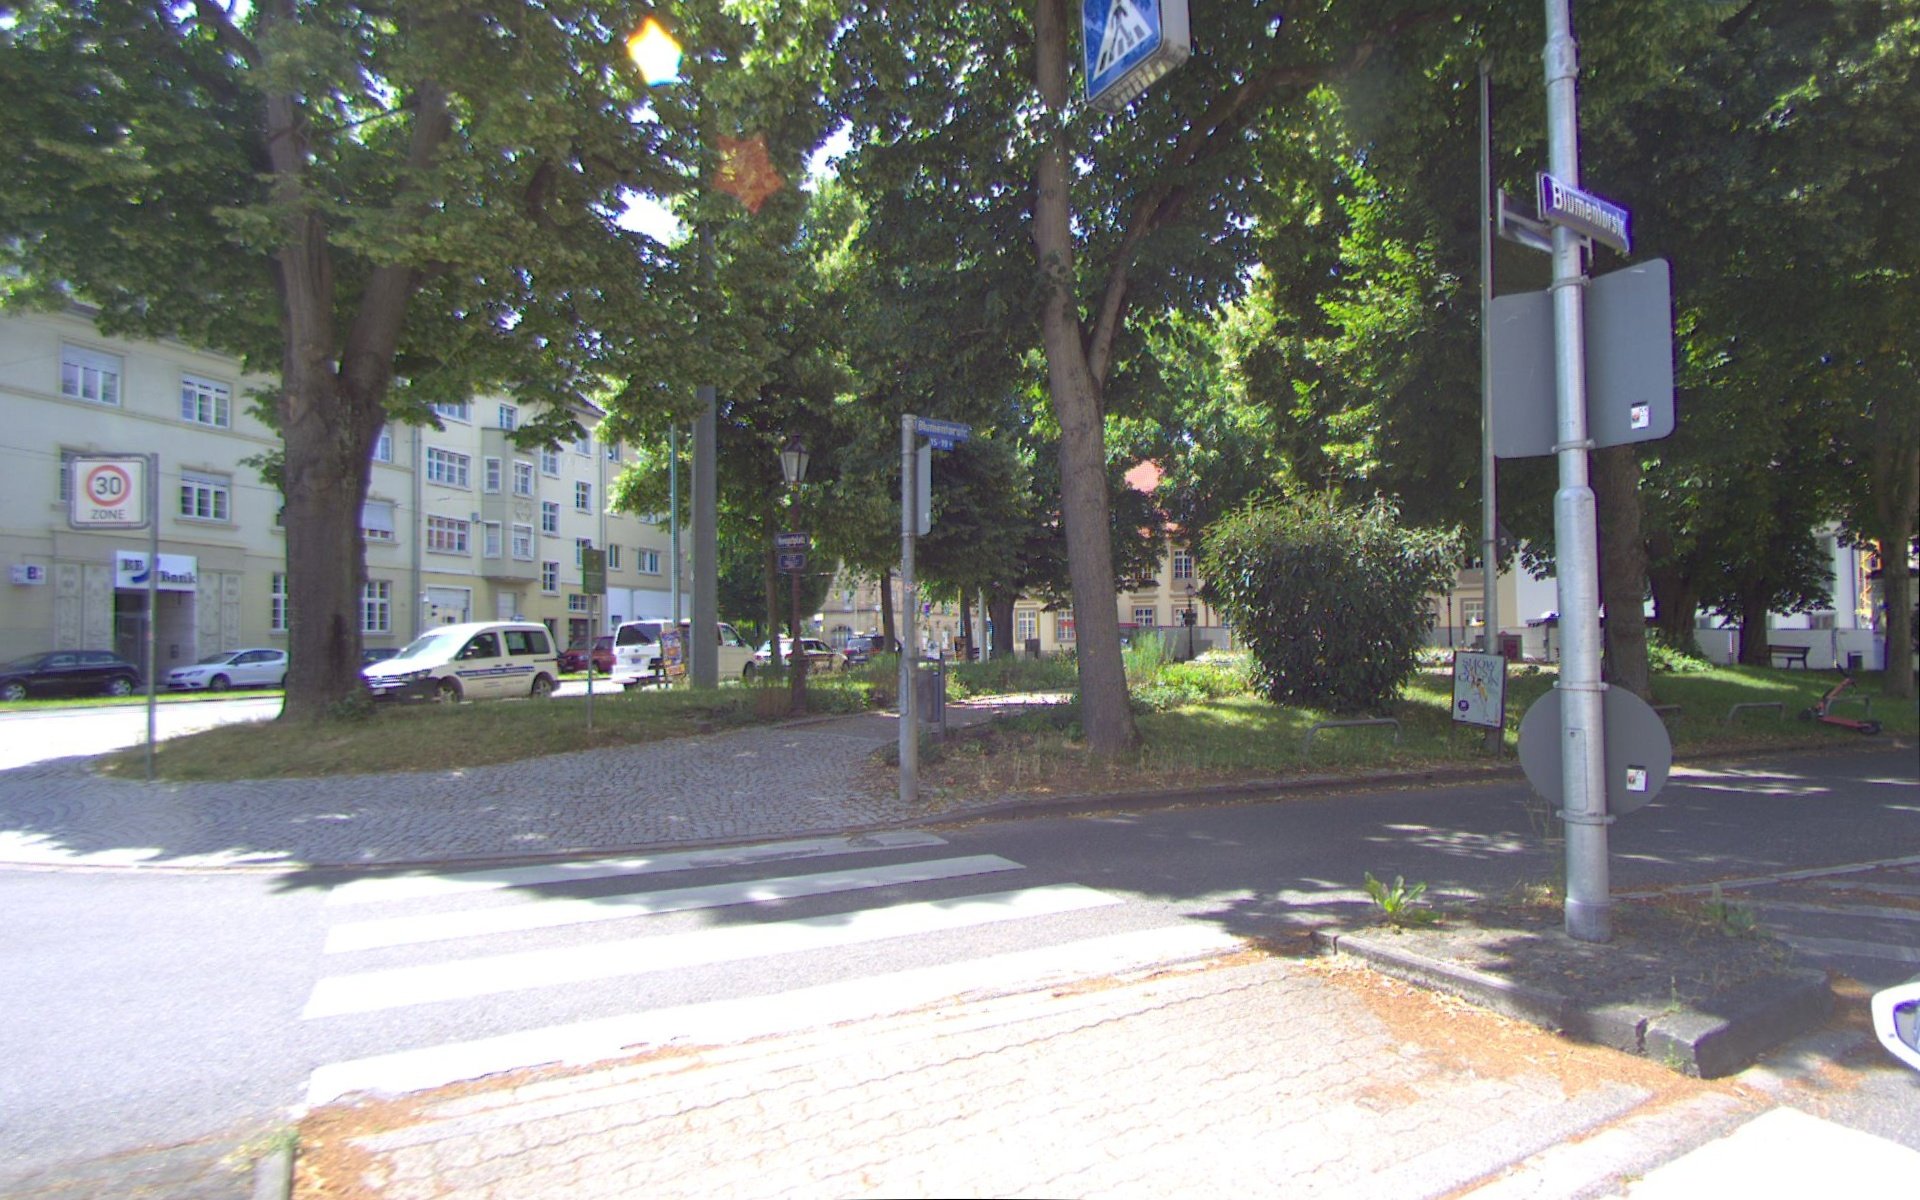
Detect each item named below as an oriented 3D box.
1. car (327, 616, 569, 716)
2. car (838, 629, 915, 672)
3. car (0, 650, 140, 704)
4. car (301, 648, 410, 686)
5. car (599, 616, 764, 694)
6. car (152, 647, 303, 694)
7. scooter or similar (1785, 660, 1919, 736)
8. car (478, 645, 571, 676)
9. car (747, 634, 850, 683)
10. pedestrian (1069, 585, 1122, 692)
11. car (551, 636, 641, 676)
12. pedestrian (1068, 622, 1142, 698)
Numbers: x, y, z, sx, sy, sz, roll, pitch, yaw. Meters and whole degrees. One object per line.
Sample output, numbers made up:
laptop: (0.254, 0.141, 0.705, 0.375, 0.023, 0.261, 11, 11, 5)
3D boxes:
car: (-10.418, 1.308, 20.892, 1.960, 1.850, 4.424, -1, -2, 17)
car: (-3.494, 2.125, 42.679, 1.753, 1.715, 4.201, -1, -2, 18)
car: (-25.887, 2.175, 28.447, 1.658, 1.378, 3.859, -3, -3, 17)
car: (-23.001, 2.534, 38.351, 1.658, 1.294, 3.290, -4, -3, 17)
car: (-7.860, 1.543, 28.985, 2.015, 2.029, 5.250, -1, -2, 18)
car: (-24.333, 2.315, 33.538, 1.658, 1.408, 3.859, -3, -3, 17)
scooter or similar: (14.870, 1.602, 16.748, 1.436, 1.005, 1.264, 2, 6, -33)
car: (-20.317, 2.824, 47.033, 1.614, 1.294, 4.266, -3, -3, 17)
car: (-5.686, 2.037, 35.906, 1.753, 1.645, 4.487, -1, -2, 18)
pedestrian: (2.512, 0.702, 18.610, 0.737, 1.936, 0.682, -1, -1, 33)
car: (-18.753, 2.849, 51.967, 1.822, 1.936, 4.773, -3, -3, 17)
pedestrian: (2.586, 1.037, 17.811, 0.893, 1.268, 1.145, -1, -1, 32)
